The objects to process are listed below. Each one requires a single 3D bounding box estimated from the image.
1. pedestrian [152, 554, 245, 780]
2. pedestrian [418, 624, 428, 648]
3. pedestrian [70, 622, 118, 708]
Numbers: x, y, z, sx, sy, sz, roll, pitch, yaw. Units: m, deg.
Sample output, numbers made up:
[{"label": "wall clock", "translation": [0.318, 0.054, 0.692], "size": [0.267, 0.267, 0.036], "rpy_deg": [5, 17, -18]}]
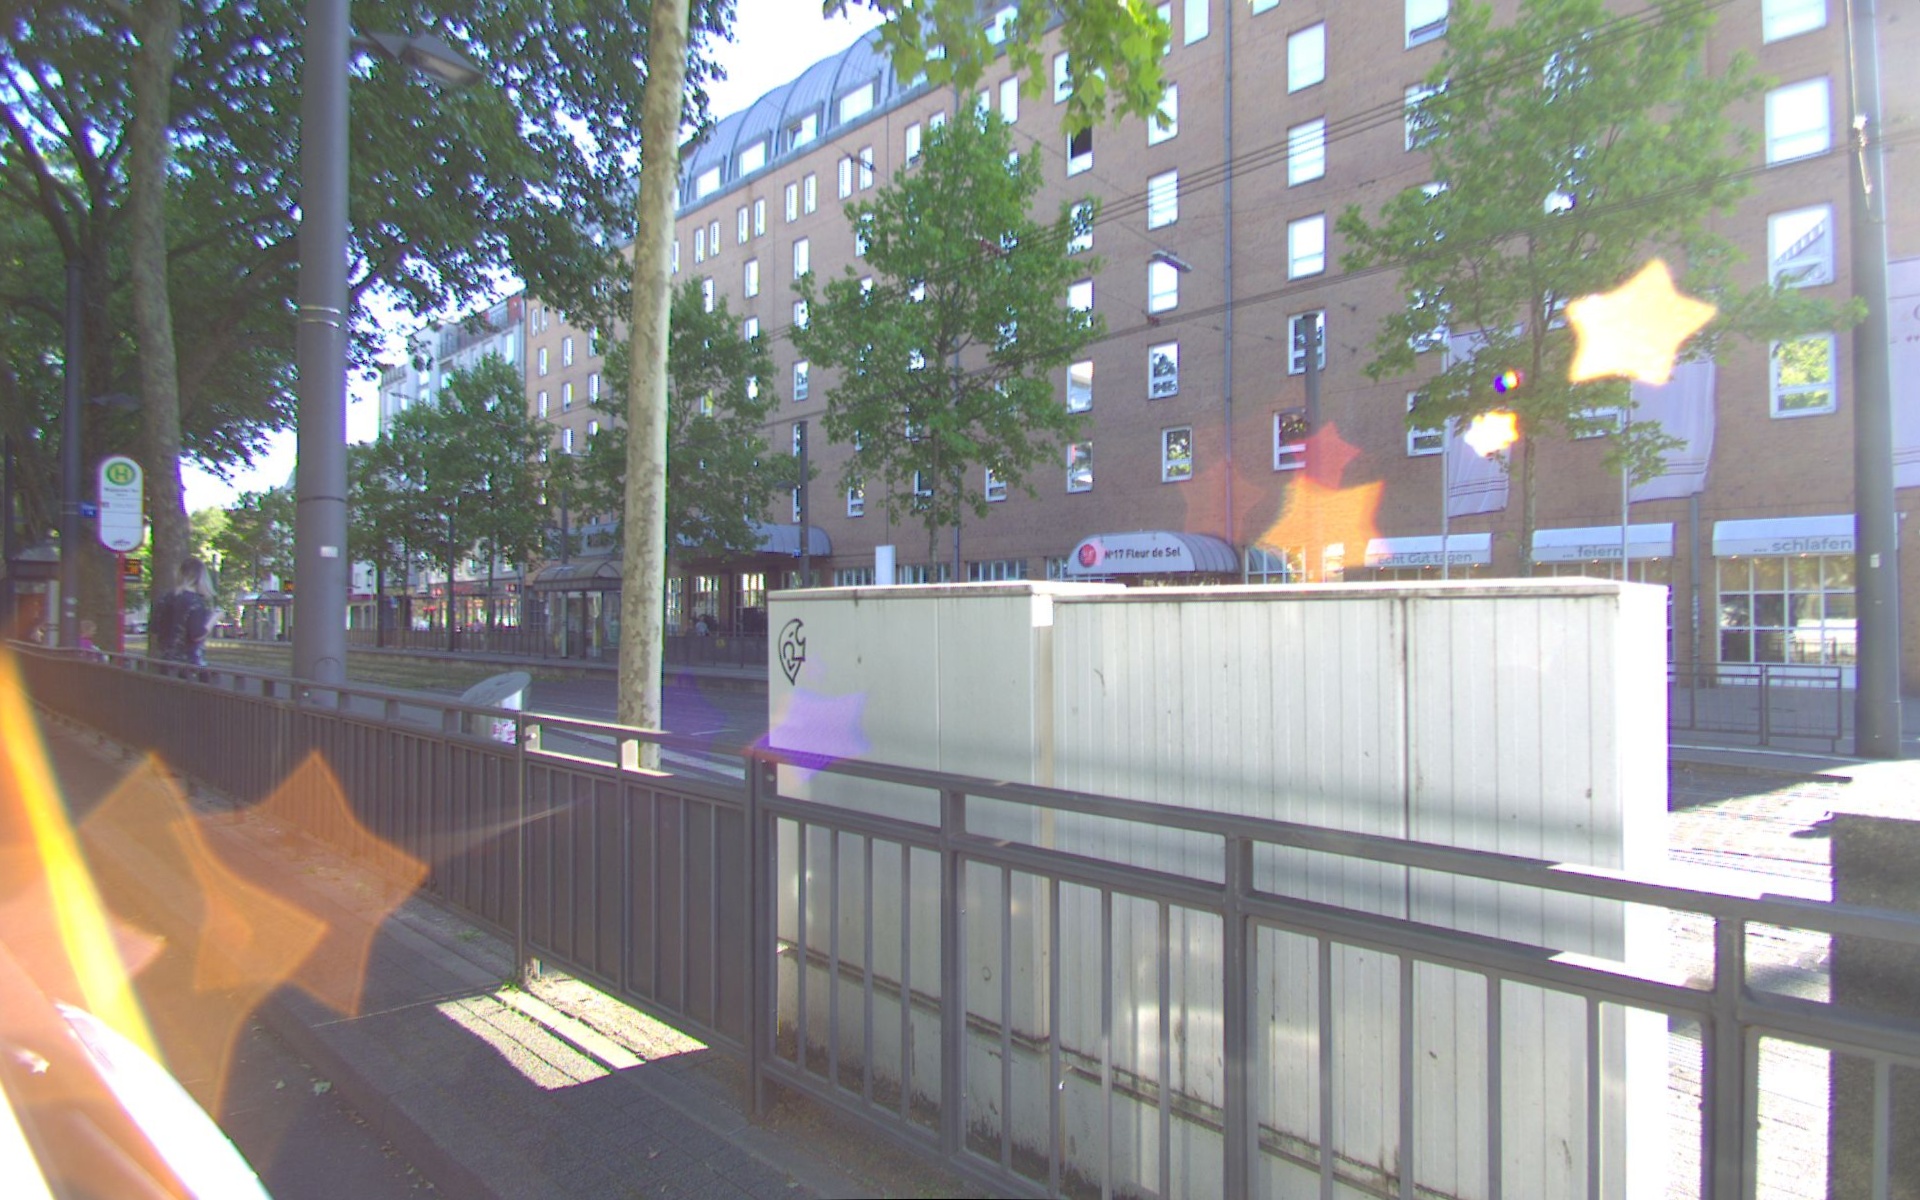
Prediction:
[{"label": "pedestrian", "translation": [-6.517, 0.546, 8.661], "size": [0.524, 1.848, 0.536], "rpy_deg": [-1, 0, 43]}, {"label": "pedestrian", "translation": [-38.102, 2.551, 71.816], "size": [0.574, 1.748, 0.497], "rpy_deg": [-2, -2, 43]}, {"label": "pedestrian", "translation": [-13.981, 1.035, 16.345], "size": [0.534, 1.327, 0.525], "rpy_deg": [-1, 0, -37]}]
